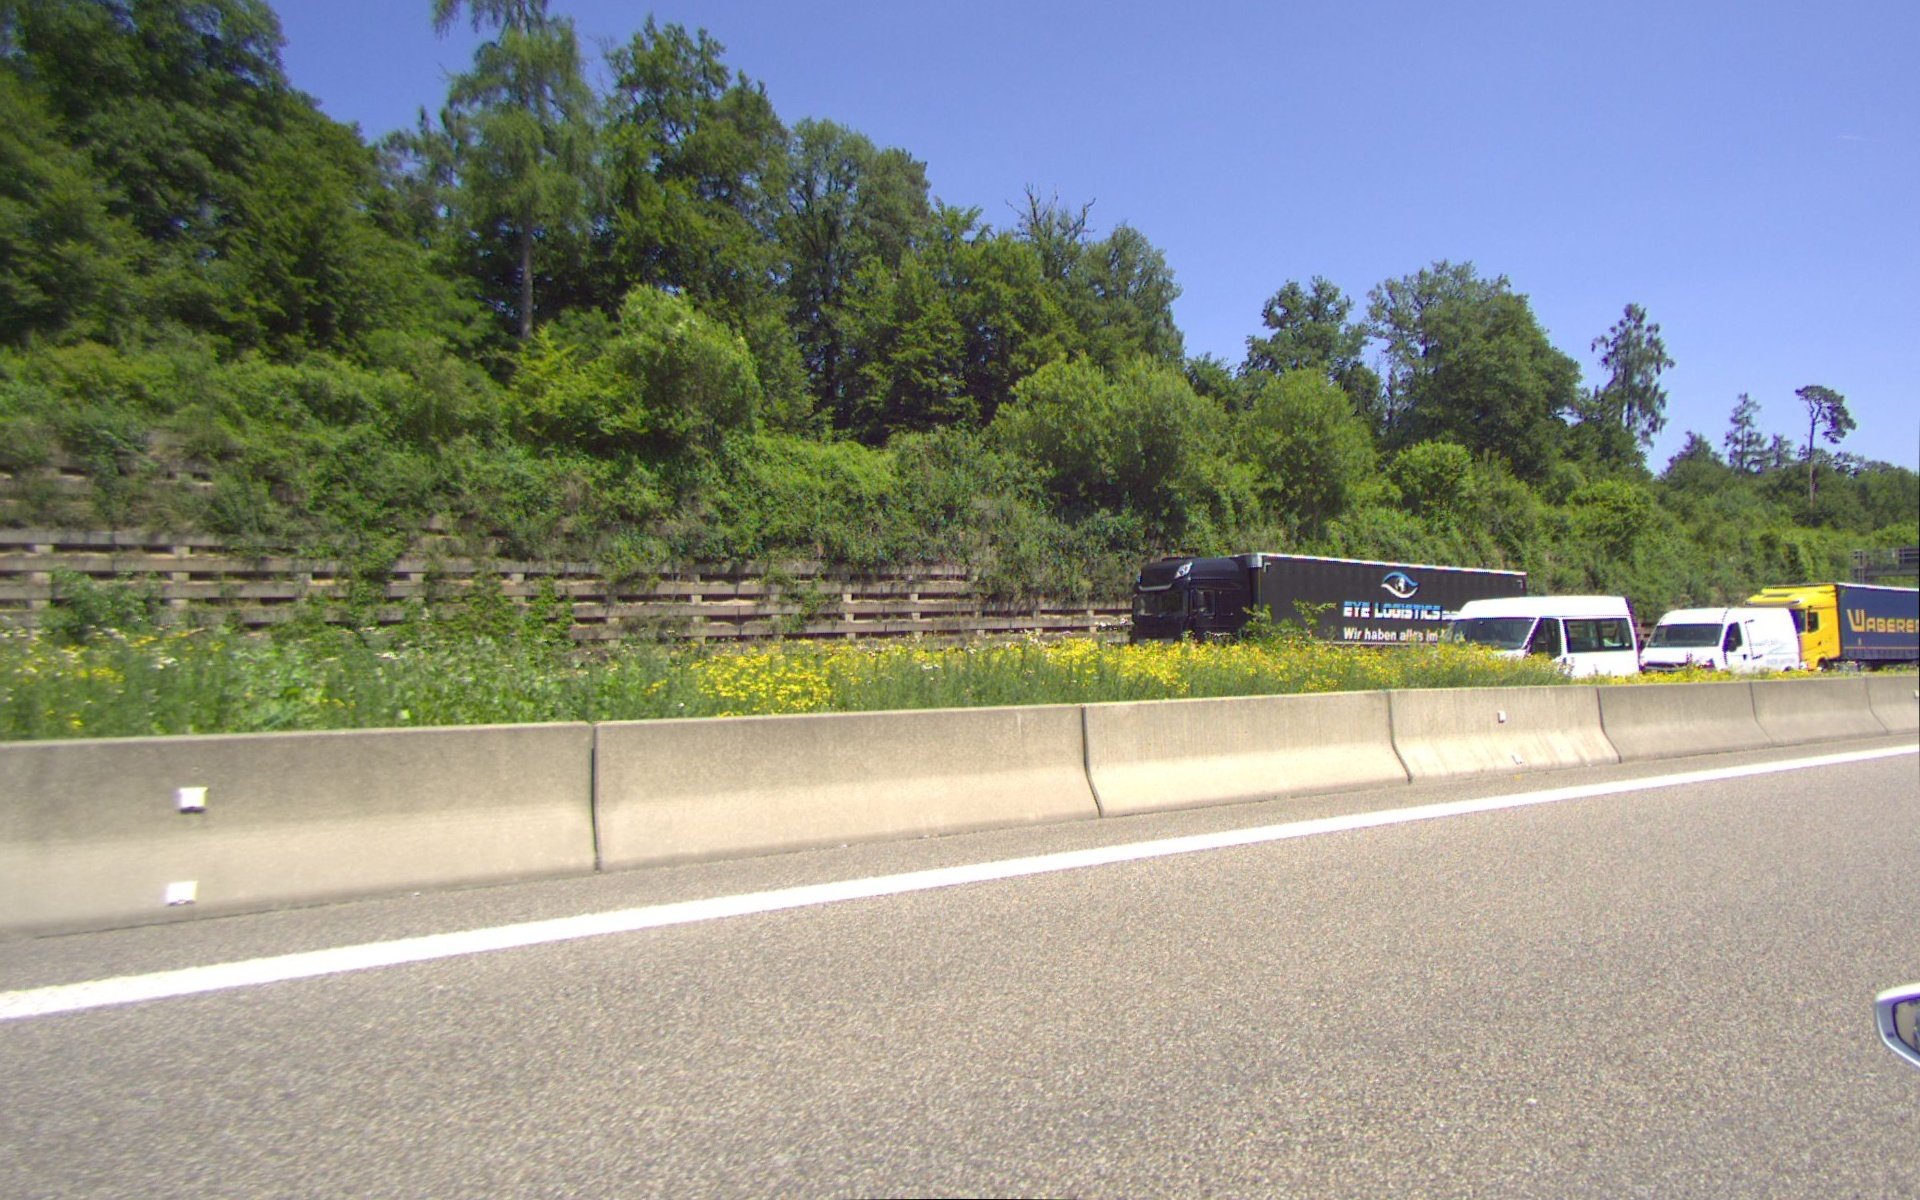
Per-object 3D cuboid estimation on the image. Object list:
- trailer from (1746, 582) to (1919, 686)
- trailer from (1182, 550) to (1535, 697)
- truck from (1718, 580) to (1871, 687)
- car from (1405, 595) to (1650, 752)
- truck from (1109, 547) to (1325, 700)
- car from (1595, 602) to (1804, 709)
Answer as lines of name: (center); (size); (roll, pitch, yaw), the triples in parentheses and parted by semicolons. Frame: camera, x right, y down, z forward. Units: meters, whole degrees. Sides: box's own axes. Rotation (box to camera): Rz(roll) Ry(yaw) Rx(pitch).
trailer: (41.251, 1.628, 45.998); (14.290, 4.262, 2.965); (2, -3, -30)
trailer: (13.577, 0.897, 33.264); (13.830, 4.154, 2.965); (2, -3, -30)
truck: (35.556, 1.472, 42.759); (6.382, 4.257, 2.937); (2, -3, -30)
car: (11.031, 1.336, 19.450); (4.789, 2.709, 1.989); (1, -2, -31)
truck: (7.631, 0.769, 29.765); (5.799, 4.112, 2.921); (1, -3, -30)
car: (20.840, 1.511, 28.273); (5.617, 2.709, 2.741); (1, -2, -31)
